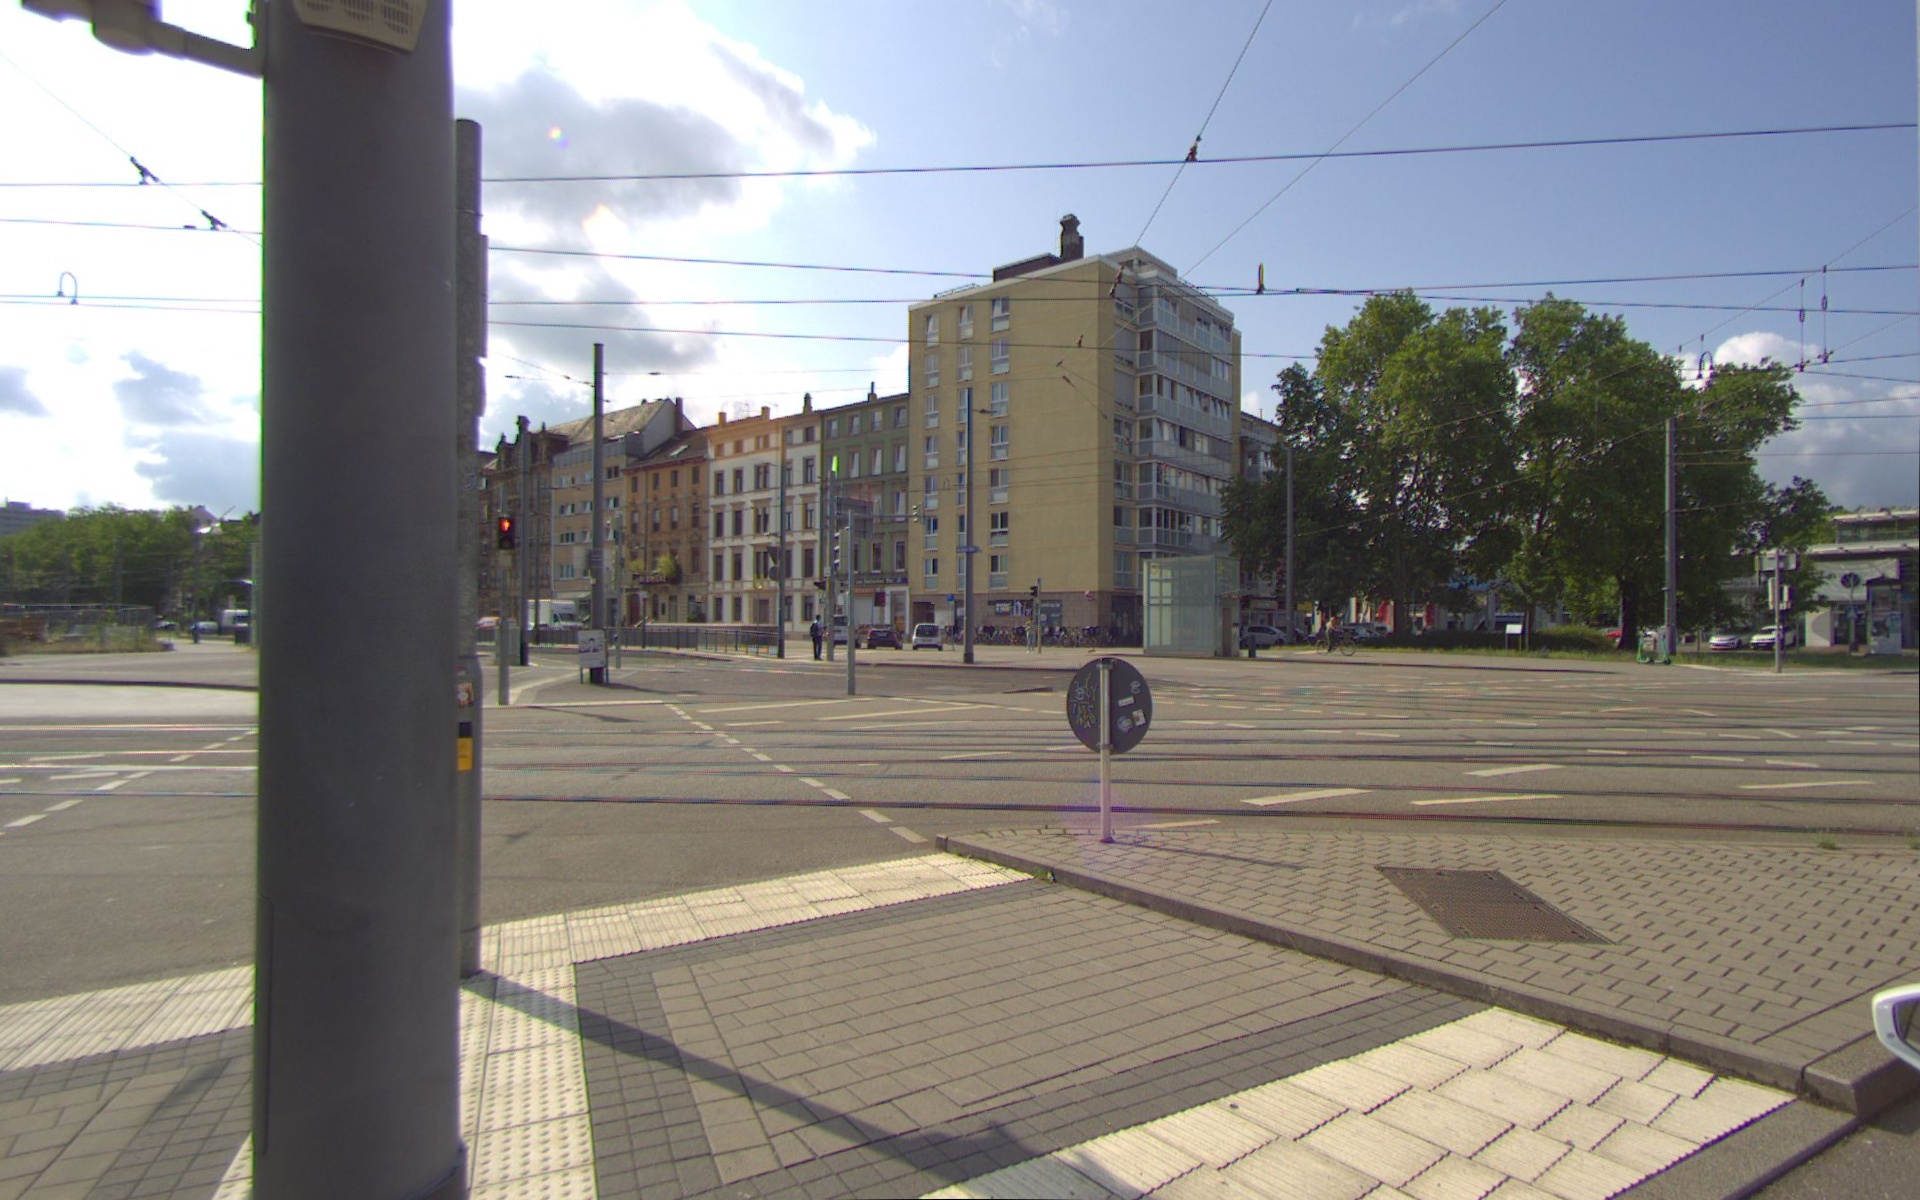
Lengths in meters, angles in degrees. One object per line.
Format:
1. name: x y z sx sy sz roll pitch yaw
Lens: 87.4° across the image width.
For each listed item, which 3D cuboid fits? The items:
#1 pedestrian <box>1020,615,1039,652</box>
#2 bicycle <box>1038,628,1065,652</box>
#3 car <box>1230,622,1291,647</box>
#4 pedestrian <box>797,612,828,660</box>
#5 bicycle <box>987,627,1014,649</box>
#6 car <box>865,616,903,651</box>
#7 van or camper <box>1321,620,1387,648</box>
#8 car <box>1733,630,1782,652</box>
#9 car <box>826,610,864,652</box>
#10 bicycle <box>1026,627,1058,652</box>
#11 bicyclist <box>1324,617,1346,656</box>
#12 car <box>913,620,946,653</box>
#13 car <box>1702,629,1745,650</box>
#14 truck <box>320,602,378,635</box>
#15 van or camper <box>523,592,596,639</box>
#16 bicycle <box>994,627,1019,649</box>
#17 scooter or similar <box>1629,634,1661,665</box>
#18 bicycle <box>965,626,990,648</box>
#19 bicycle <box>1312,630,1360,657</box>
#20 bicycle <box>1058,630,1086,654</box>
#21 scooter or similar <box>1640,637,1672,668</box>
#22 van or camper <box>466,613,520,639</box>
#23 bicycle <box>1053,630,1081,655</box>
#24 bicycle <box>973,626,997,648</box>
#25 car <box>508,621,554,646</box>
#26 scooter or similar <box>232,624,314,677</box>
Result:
1. pedestrian: 3.500 1.670 50.338 0.770 1.783 0.996 0 -1 16
2. bicycle: 5.552 2.402 60.849 0.484 1.289 1.623 2 3 -44
3. car: 20.589 2.330 68.799 3.520 1.550 1.991 1 0 40
4. pedestrian: -5.598 1.353 38.143 0.783 1.696 0.841 5 5 38
5. bicycle: 2.518 2.369 62.613 0.545 1.218 1.623 2 3 -44
6. car: -4.305 1.877 57.619 1.854 1.488 5.061 3 3 -2
7. van or camper: 39.190 3.363 100.003 2.366 2.502 5.846 1 0 -31
8. car: 60.988 3.098 76.790 3.964 1.625 2.052 1 -1 -38
9. car: -6.943 1.824 60.873 2.040 2.113 4.895 2 2 -5
10. bicycle: 4.964 2.386 60.626 1.857 1.289 0.486 5 5 32
11. bicyclist: 17.351 1.681 46.449 0.813 1.768 0.711 1 0 28
12. car: -1.691 2.005 55.981 1.686 1.460 3.511 3 2 -1
13. car: 59.934 3.096 78.811 3.970 1.595 1.976 2 -1 -42
14. truck: -63.696 1.911 104.714 7.190 3.329 3.164 0 0 41
15. van or camper: -34.215 1.240 85.641 7.528 3.376 2.706 6 5 42
16. bicycle: 2.926 2.382 62.988 0.484 1.218 1.623 2 3 -44
17. scooter or similar: 27.804 2.024 40.792 0.911 1.173 0.382 3 4 13
18. bicycle: 1.114 2.346 63.897 0.484 1.218 1.623 2 3 -44
19. bicycle: 17.379 2.001 46.414 1.956 1.142 0.788 1 0 29
20. bicycle: 6.693 2.514 59.979 0.484 1.289 1.623 2 3 -44
21. scooter or similar: 27.849 2.109 40.206 0.911 1.173 0.381 2 4 1
22. van or camper: -36.888 2.022 79.308 4.449 1.940 2.008 1 0 36
23. bicycle: 6.347 2.502 59.568 0.528 1.289 1.623 2 3 -44
24. bicycle: 1.604 2.360 64.166 0.484 1.218 1.623 2 3 -44
25. car: -34.736 2.685 81.301 4.280 1.457 1.786 5 8 42
26. scooter or similar: -16.687 1.199 24.403 1.473 1.205 1.331 1 0 42
